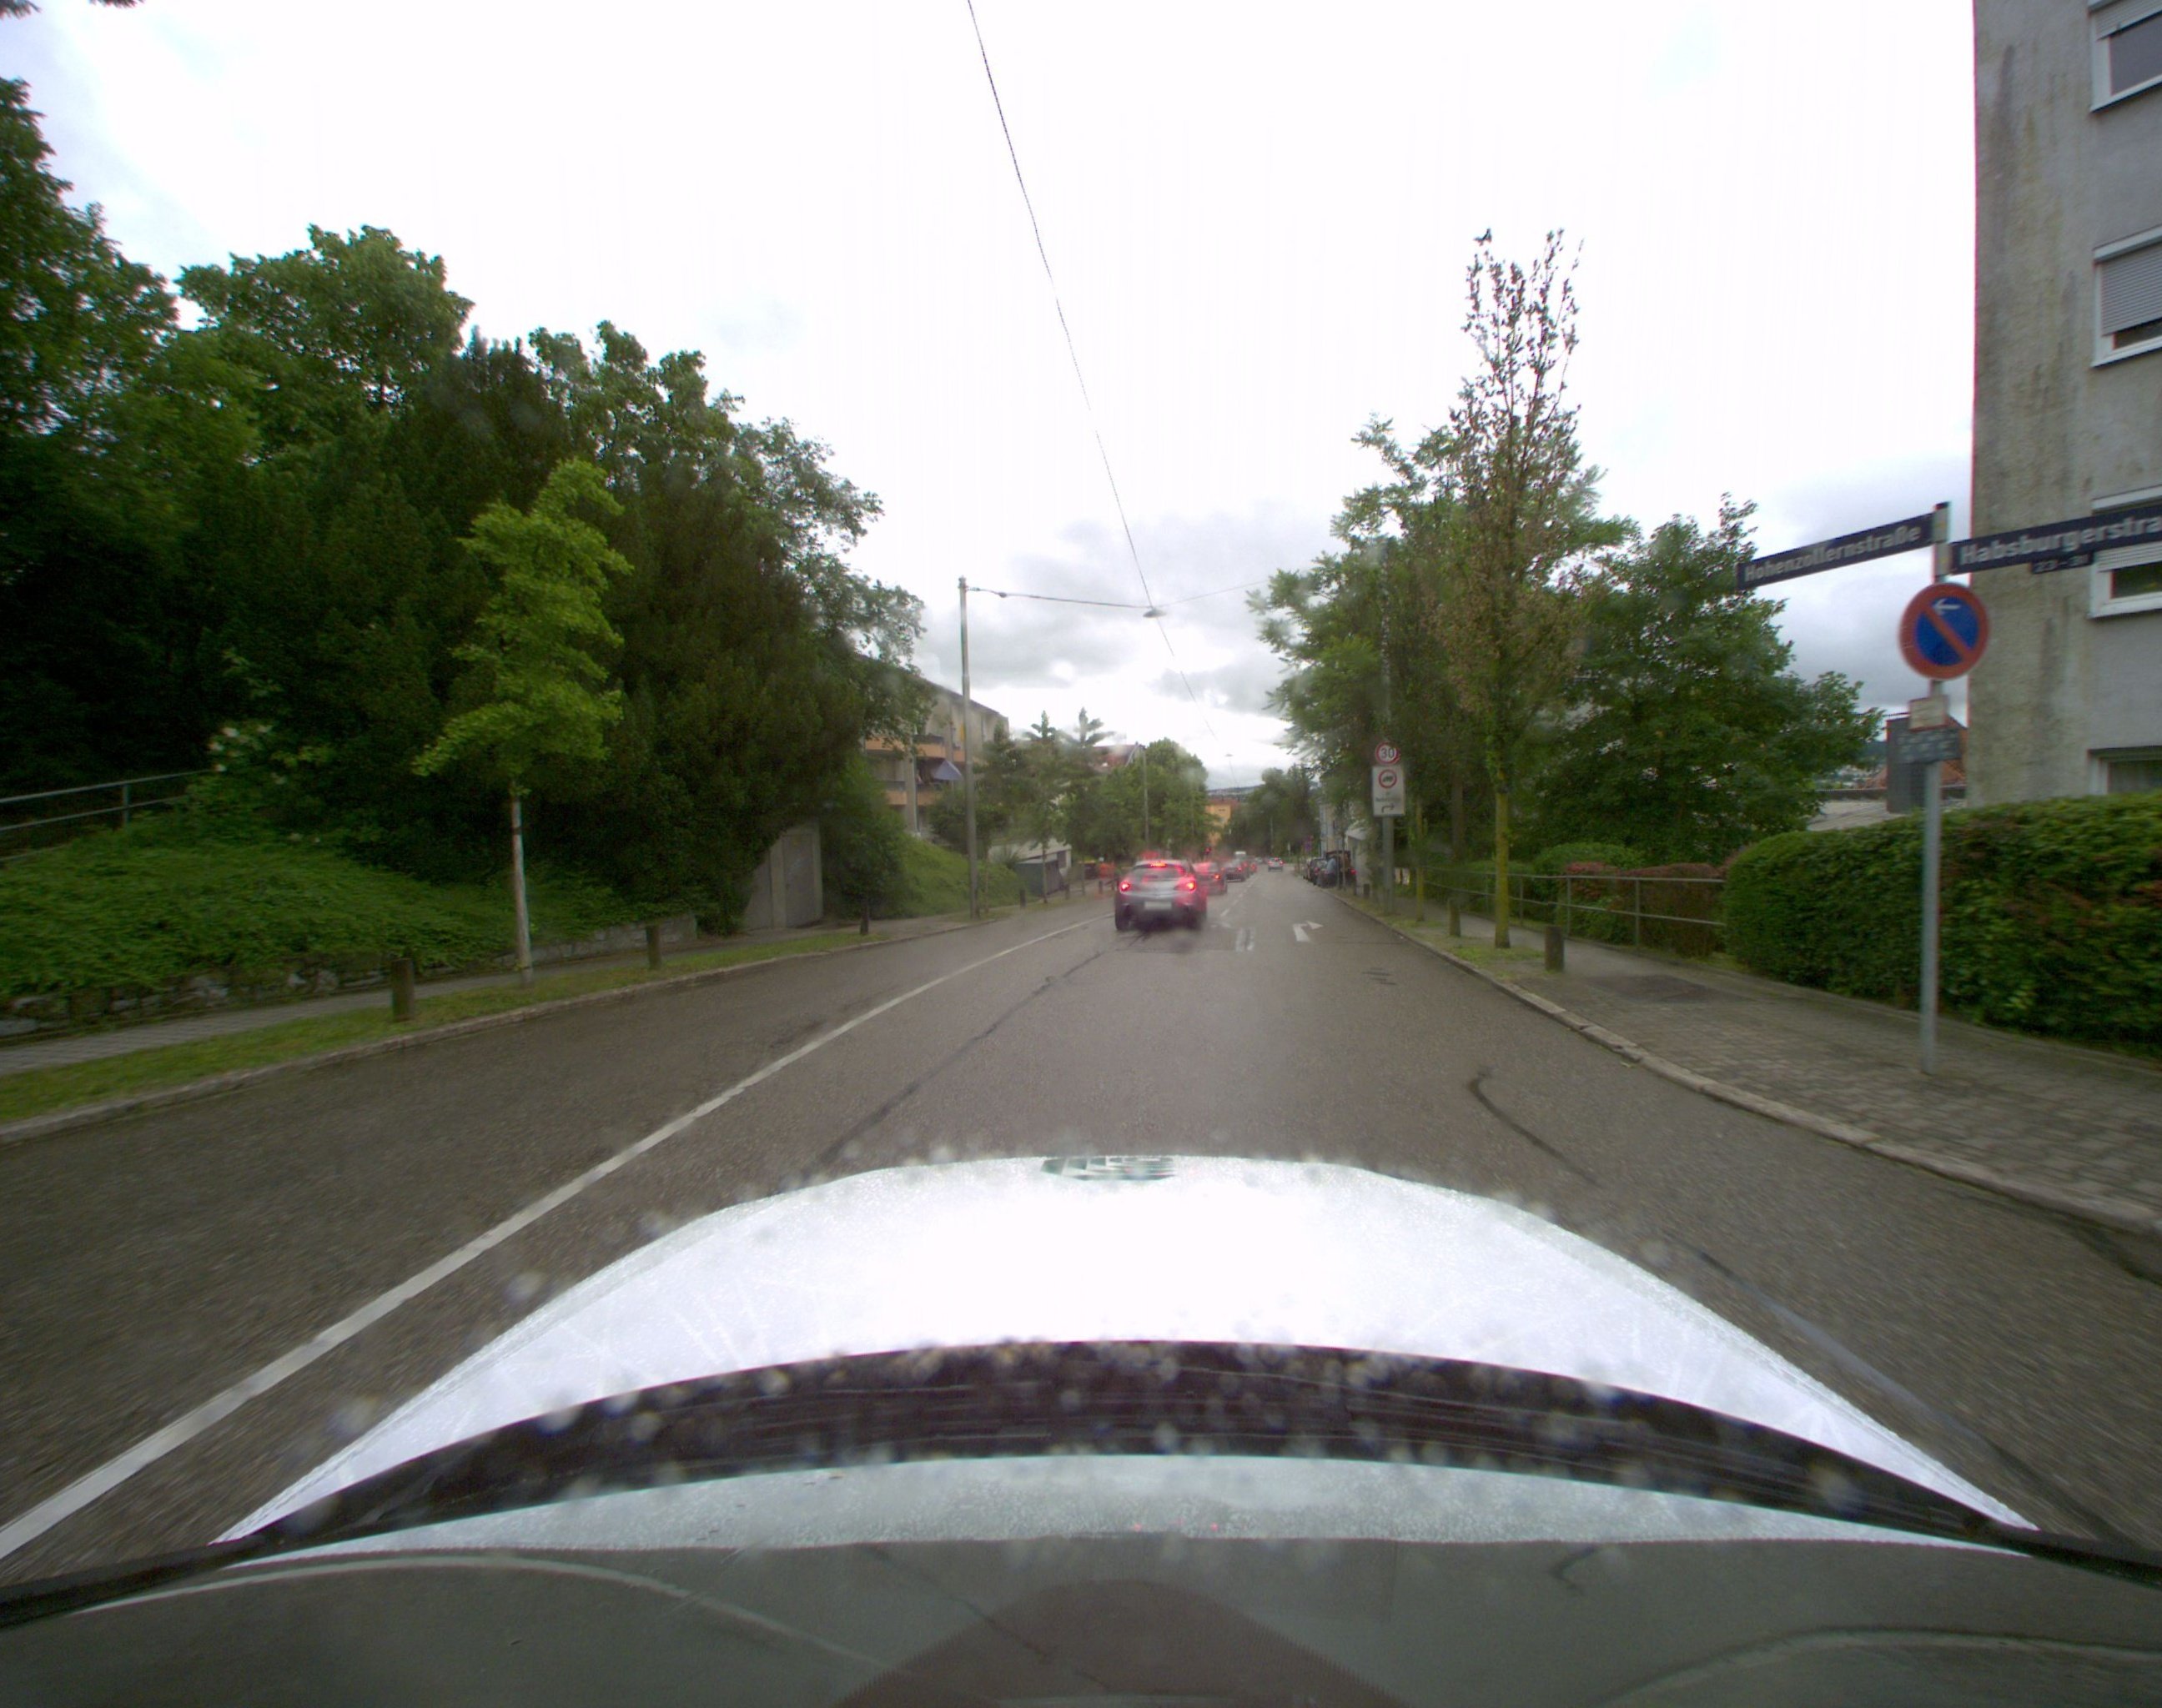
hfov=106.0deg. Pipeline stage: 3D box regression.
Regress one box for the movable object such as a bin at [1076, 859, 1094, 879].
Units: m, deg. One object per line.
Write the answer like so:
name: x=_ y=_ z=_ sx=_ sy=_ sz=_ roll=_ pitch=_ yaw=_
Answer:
movable object such as a bin: x=0.300 y=1.095 z=59.530 sx=1.264 sy=1.387 sz=0.490 roll=1 pitch=0 yaw=10

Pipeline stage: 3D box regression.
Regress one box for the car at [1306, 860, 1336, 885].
car: x=15.904 y=1.192 z=54.104 sx=1.673 sy=1.571 sz=4.015 roll=-2 pitch=-1 yaw=14

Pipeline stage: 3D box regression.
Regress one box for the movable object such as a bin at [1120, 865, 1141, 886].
movable object such as a bin: x=3.227 y=1.392 z=53.149 sx=1.264 sy=1.387 sz=0.490 roll=0 pitch=0 yaw=10

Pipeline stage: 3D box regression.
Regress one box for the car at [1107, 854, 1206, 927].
car: x=1.789 y=0.767 z=18.169 sx=1.934 sy=1.432 sz=3.893 roll=0 pitch=-1 yaw=9

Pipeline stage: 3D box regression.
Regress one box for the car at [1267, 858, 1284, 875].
car: x=24.669 y=1.521 z=103.073 sx=1.980 sy=2.036 sz=4.752 roll=2 pitch=0 yaw=13

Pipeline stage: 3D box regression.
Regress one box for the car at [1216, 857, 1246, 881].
car: x=10.564 y=1.018 z=57.058 sx=1.948 sy=1.472 sz=3.963 roll=2 pitch=0 yaw=11

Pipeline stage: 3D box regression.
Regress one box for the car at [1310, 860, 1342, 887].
car: x=14.845 y=1.162 z=49.495 sx=1.669 sy=1.464 sz=4.015 roll=-2 pitch=-1 yaw=14

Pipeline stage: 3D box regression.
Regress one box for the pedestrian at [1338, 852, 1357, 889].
pedestrian: x=13.585 y=0.854 z=41.484 sx=0.680 sy=1.836 sz=0.670 roll=-4 pitch=-1 yaw=29

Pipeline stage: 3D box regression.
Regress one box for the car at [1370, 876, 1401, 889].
car: x=42.645 y=3.931 z=113.869 sx=3.815 sy=1.479 sz=1.839 roll=-5 pitch=-1 yaw=25

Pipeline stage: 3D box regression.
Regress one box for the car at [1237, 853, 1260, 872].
car: x=19.621 y=0.992 z=95.285 sx=2.318 sy=2.036 sz=4.752 roll=2 pitch=0 yaw=13

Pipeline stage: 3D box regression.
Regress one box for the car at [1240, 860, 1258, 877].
car: x=17.647 y=1.501 z=85.794 sx=1.743 sy=1.651 sz=4.012 roll=2 pitch=-1 yaw=11

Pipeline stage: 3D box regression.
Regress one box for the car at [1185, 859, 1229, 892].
car: x=5.562 y=0.929 z=36.190 sx=1.788 sy=1.323 sz=4.009 roll=0 pitch=0 yaw=8

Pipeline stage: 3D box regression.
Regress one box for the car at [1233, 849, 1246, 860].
car: x=28.944 y=0.068 z=148.529 sx=1.979 sy=1.784 sz=4.015 roll=2 pitch=0 yaw=14

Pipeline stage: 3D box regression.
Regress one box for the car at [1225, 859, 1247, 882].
car: x=13.087 y=1.349 z=68.593 sx=1.757 sy=1.781 sz=3.989 roll=2 pitch=0 yaw=11

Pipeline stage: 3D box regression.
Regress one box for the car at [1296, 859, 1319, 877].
car: x=21.125 y=1.294 z=75.983 sx=1.893 sy=1.571 sz=4.015 roll=-2 pitch=-1 yaw=14

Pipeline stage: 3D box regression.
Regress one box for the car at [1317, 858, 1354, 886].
car: x=13.673 y=0.981 z=43.872 sx=1.493 sy=1.435 sz=4.013 roll=-2 pitch=-2 yaw=12

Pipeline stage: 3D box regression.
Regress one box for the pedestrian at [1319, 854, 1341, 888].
pedestrian: x=12.771 y=0.863 z=41.750 sx=0.735 sy=1.724 sz=0.762 roll=-3 pitch=-1 yaw=-12

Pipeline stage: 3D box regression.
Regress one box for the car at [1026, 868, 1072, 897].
car: x=-1.805 y=1.616 z=46.845 sx=1.730 sy=1.457 sz=3.895 roll=-4 pitch=-2 yaw=11
